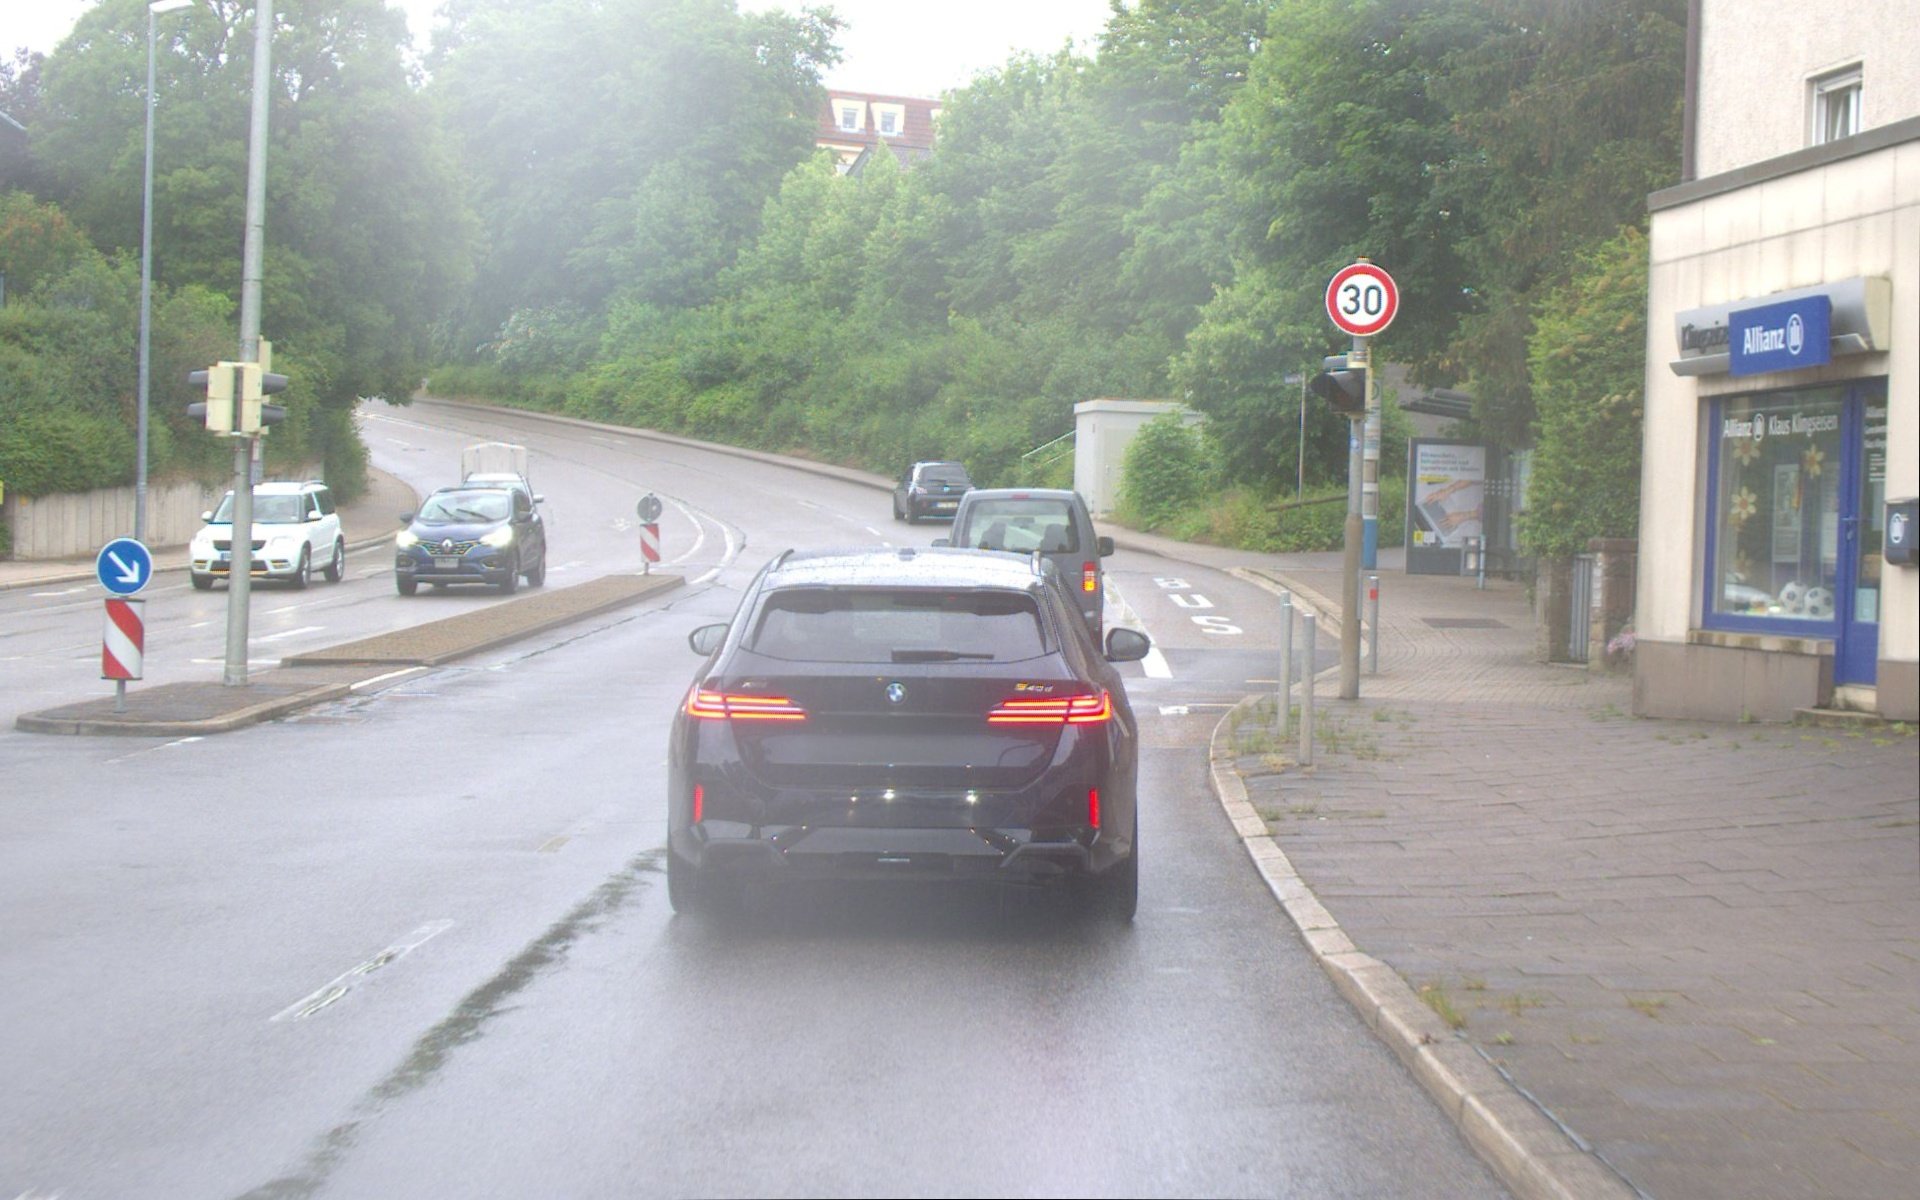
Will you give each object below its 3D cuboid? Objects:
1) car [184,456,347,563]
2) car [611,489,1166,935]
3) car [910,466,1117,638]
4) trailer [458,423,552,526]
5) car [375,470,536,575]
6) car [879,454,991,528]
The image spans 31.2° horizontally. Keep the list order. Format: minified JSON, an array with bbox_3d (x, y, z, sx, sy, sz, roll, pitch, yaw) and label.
[{"bbox_3d":[-11.139,-1.429,55.406,1.823,1.651,4.467,0,1,-2],"label":"car"},{"bbox_3d":[-0.352,0.444,14.909,1.993,1.581,4.663,2,-1,-2],"label":"car"},{"bbox_3d":[0.525,-0.573,37.607,1.993,1.742,4.001,0,3,-3],"label":"car"},{"bbox_3d":[-9.893,-2.717,74.989,1.896,2.171,4.037,0,1,-6],"label":"trailer"},{"bbox_3d":[-7.772,-1.186,53.321,1.841,1.546,4.384,0,1,0],"label":"car"},{"bbox_3d":[-0.624,-2.608,81.964,1.850,1.656,4.002,1,2,-12],"label":"car"}]
